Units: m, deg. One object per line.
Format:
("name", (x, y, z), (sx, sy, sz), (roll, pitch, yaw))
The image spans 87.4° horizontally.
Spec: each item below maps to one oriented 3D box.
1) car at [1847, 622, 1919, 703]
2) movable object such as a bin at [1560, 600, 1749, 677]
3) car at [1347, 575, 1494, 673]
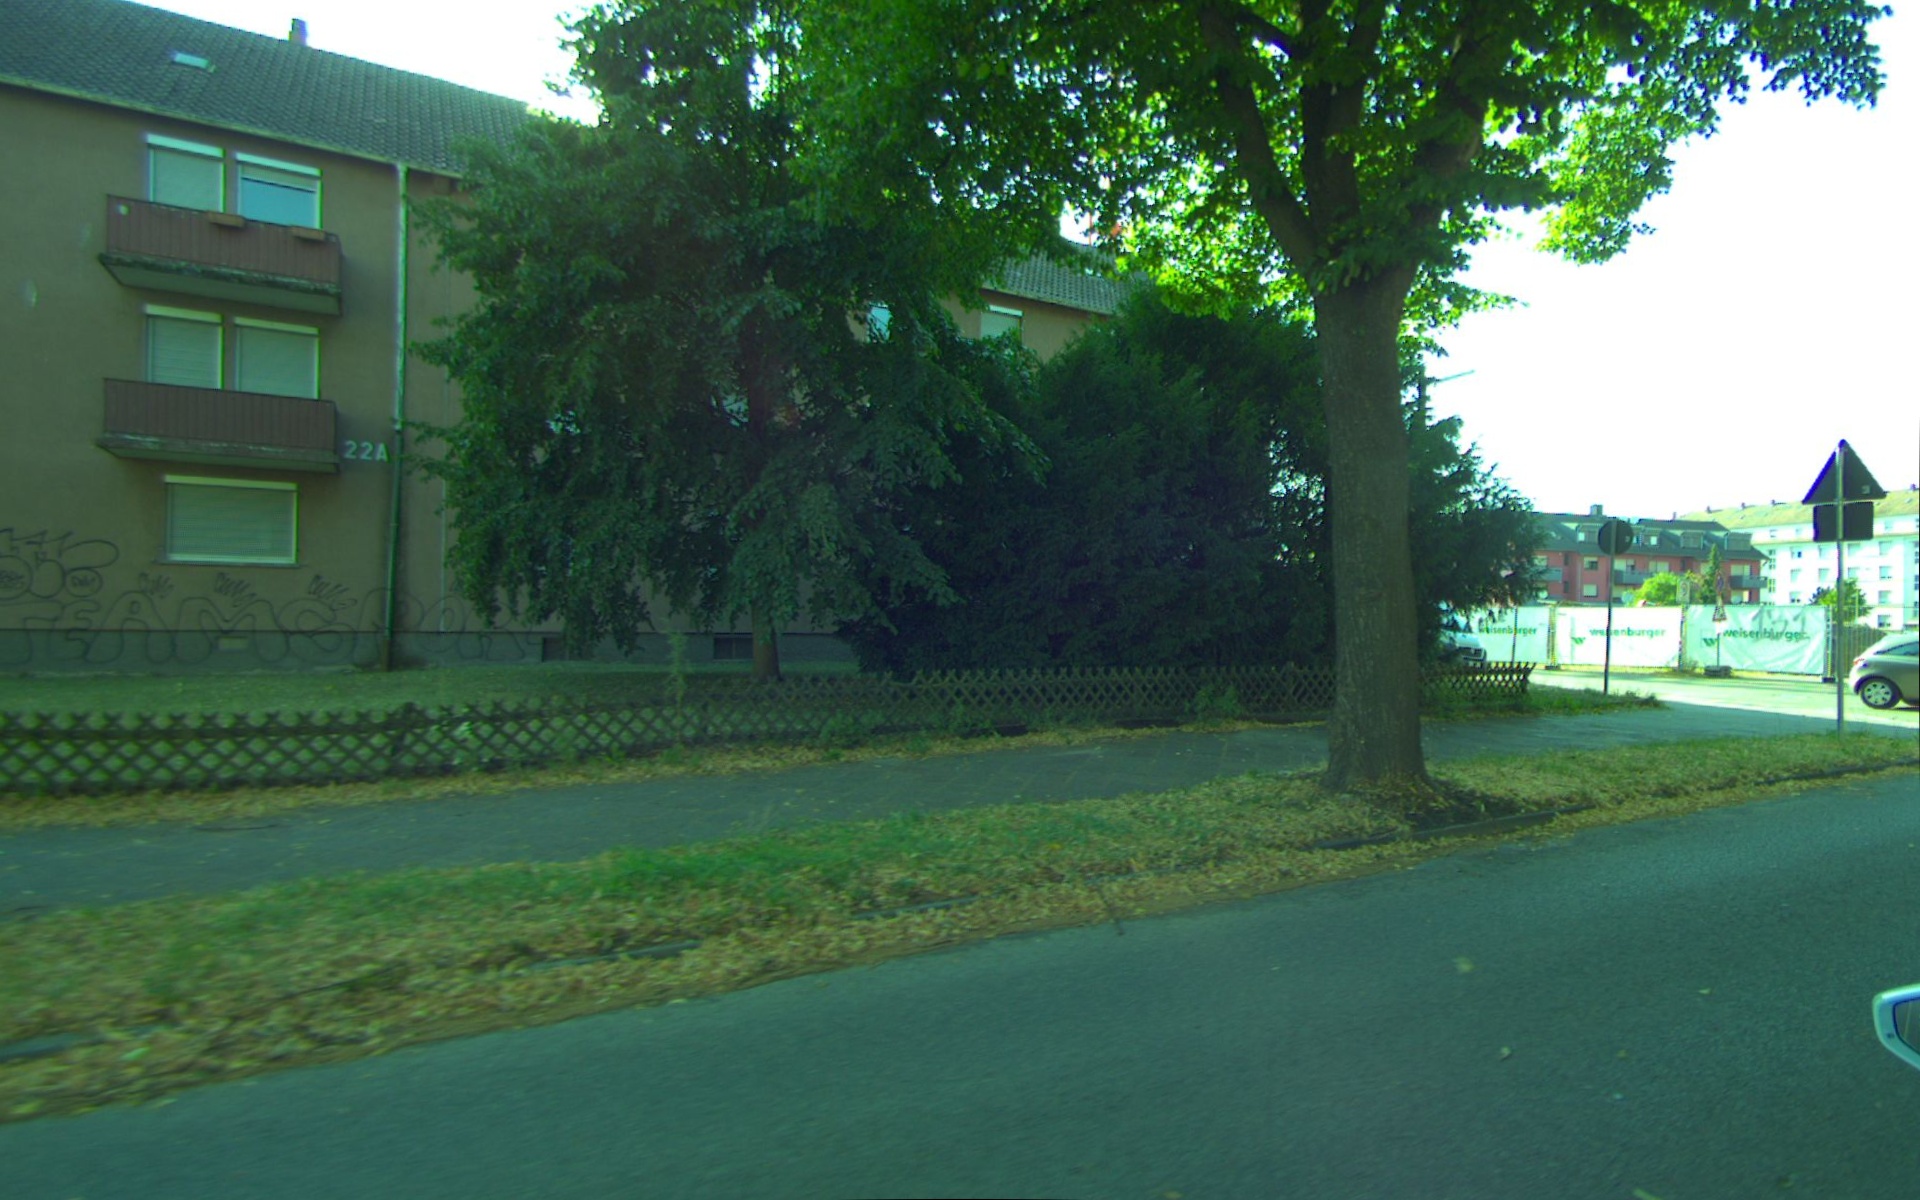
("car", (19.016, 1.192, 18.408), (1.630, 1.493, 3.830), (1, -1, -27))
("movable object such as a bin", (47.241, 2.646, 68.464), (11.346, 5.058, 3.017), (0, -3, -7))
("car", (12.904, 0.673, 28.572), (2.125, 2.501, 5.328), (0, -1, 5))
